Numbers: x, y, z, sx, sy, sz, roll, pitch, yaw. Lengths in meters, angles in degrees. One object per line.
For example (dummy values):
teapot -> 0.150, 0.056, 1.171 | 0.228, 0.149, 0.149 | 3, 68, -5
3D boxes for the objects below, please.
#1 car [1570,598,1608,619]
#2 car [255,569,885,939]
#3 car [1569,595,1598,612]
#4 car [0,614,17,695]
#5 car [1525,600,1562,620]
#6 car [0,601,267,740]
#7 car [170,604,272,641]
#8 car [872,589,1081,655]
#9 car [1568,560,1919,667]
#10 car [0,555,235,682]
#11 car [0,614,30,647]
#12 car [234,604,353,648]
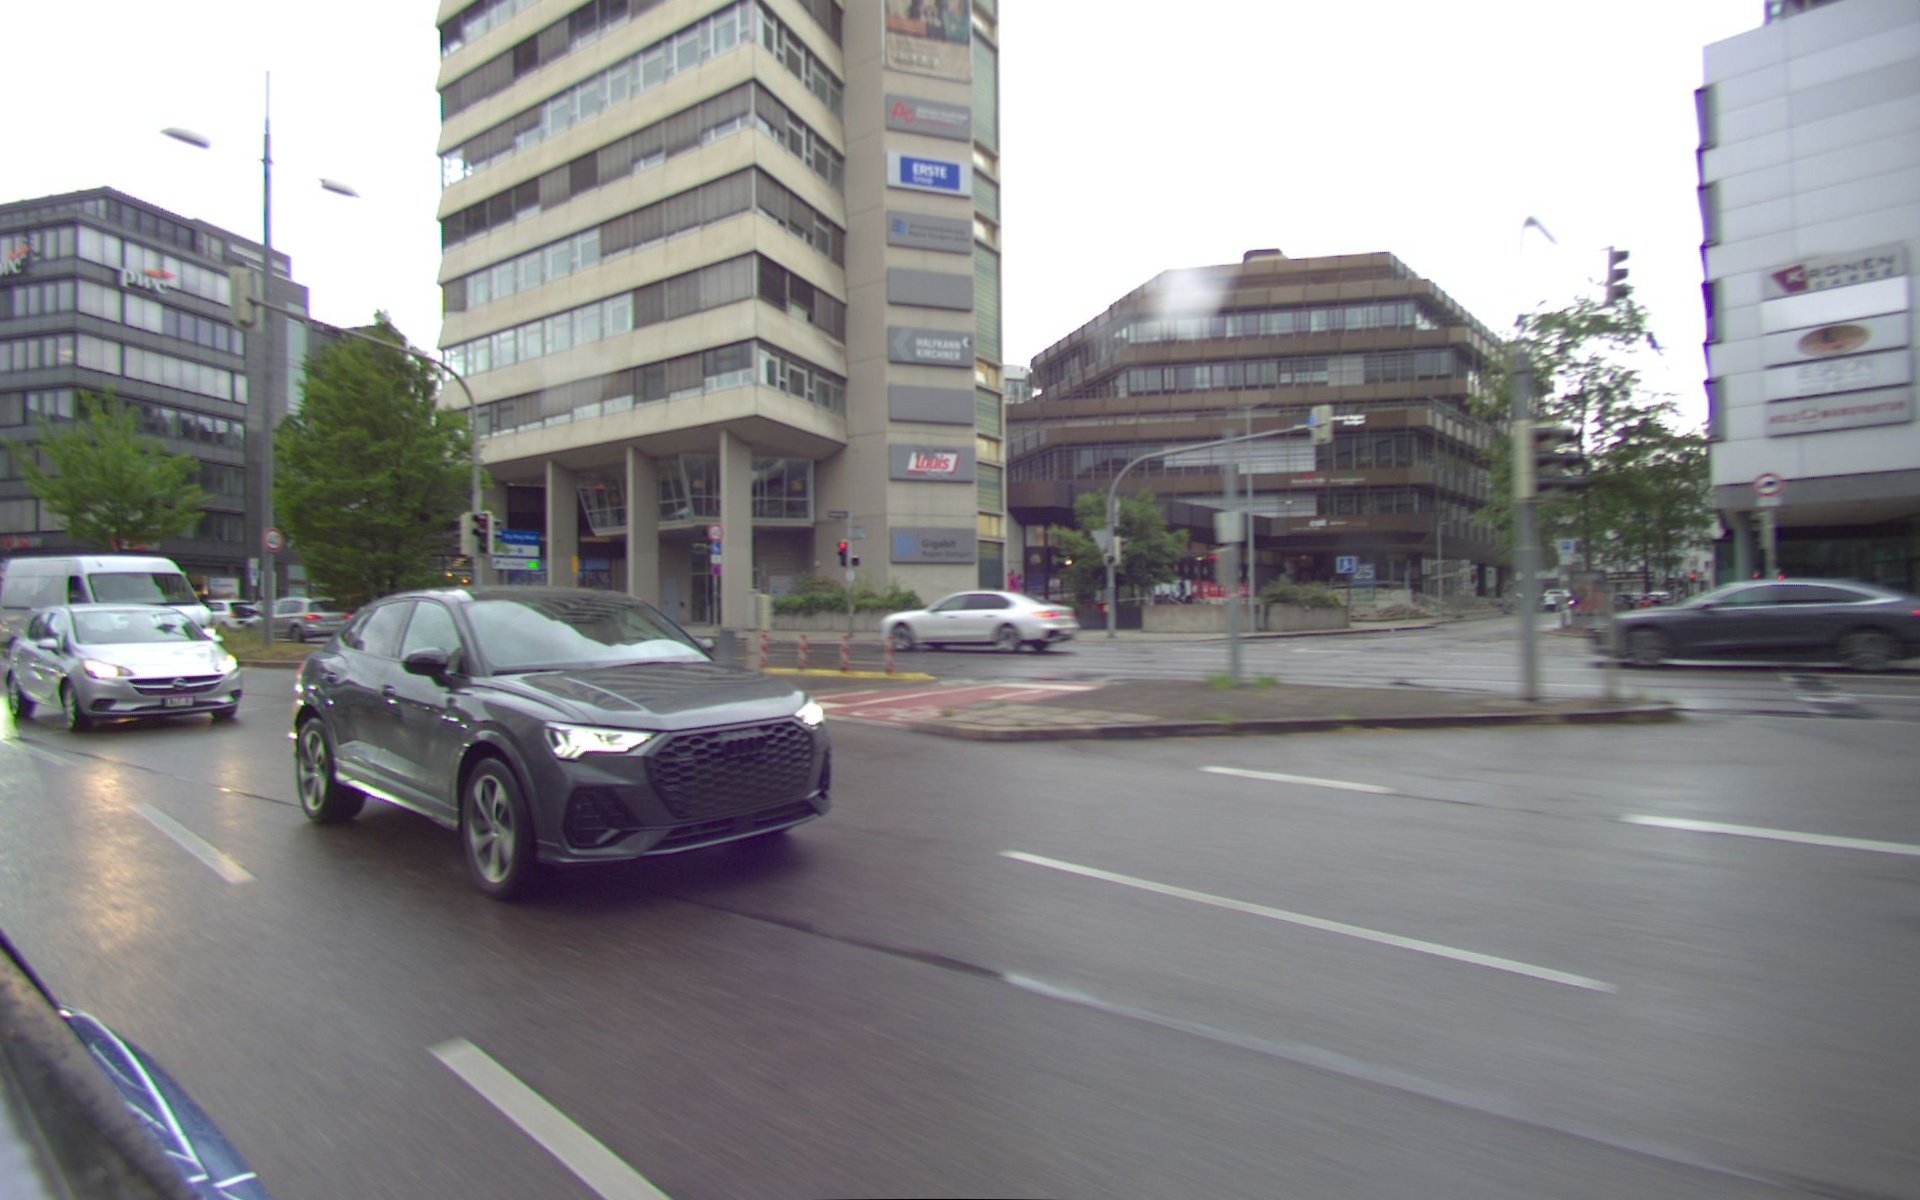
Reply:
car -> 51.197, 0.683, 82.320 | 1.999, 1.652, 3.946 | -1, 1, 41
car -> -2.674, 0.653, 6.369 | 4.384, 1.563, 1.779 | -1, 1, 40
car -> 63.934, 0.336, 103.766 | 1.999, 1.652, 3.946 | -1, 1, 41
car -> -18.919, 0.986, 18.065 | 4.224, 1.412, 1.887 | -1, 1, 30
car -> 49.693, 0.835, 86.148 | 1.999, 1.652, 3.946 | -1, 1, 41
car -> -10.798, 0.793, 12.948 | 4.115, 1.490, 1.755 | -1, 1, 33
car -> -31.943, 0.962, 43.753 | 4.037, 1.528, 1.741 | -1, 0, 23
car -> 0.367, 0.540, 26.094 | 5.236, 1.529, 1.769 | -1, 1, 32
car -> 13.425, 0.202, 17.177 | 5.160, 1.597, 1.975 | -1, 1, 37
car -> -18.218, 0.363, 21.484 | 5.690, 2.403, 2.240 | -1, 0, 27
car -> -46.936, 1.464, 48.542 | 4.031, 1.528, 1.743 | -1, 0, 19
car -> -23.813, 0.904, 36.149 | 3.977, 1.475, 1.728 | -1, 0, 25
